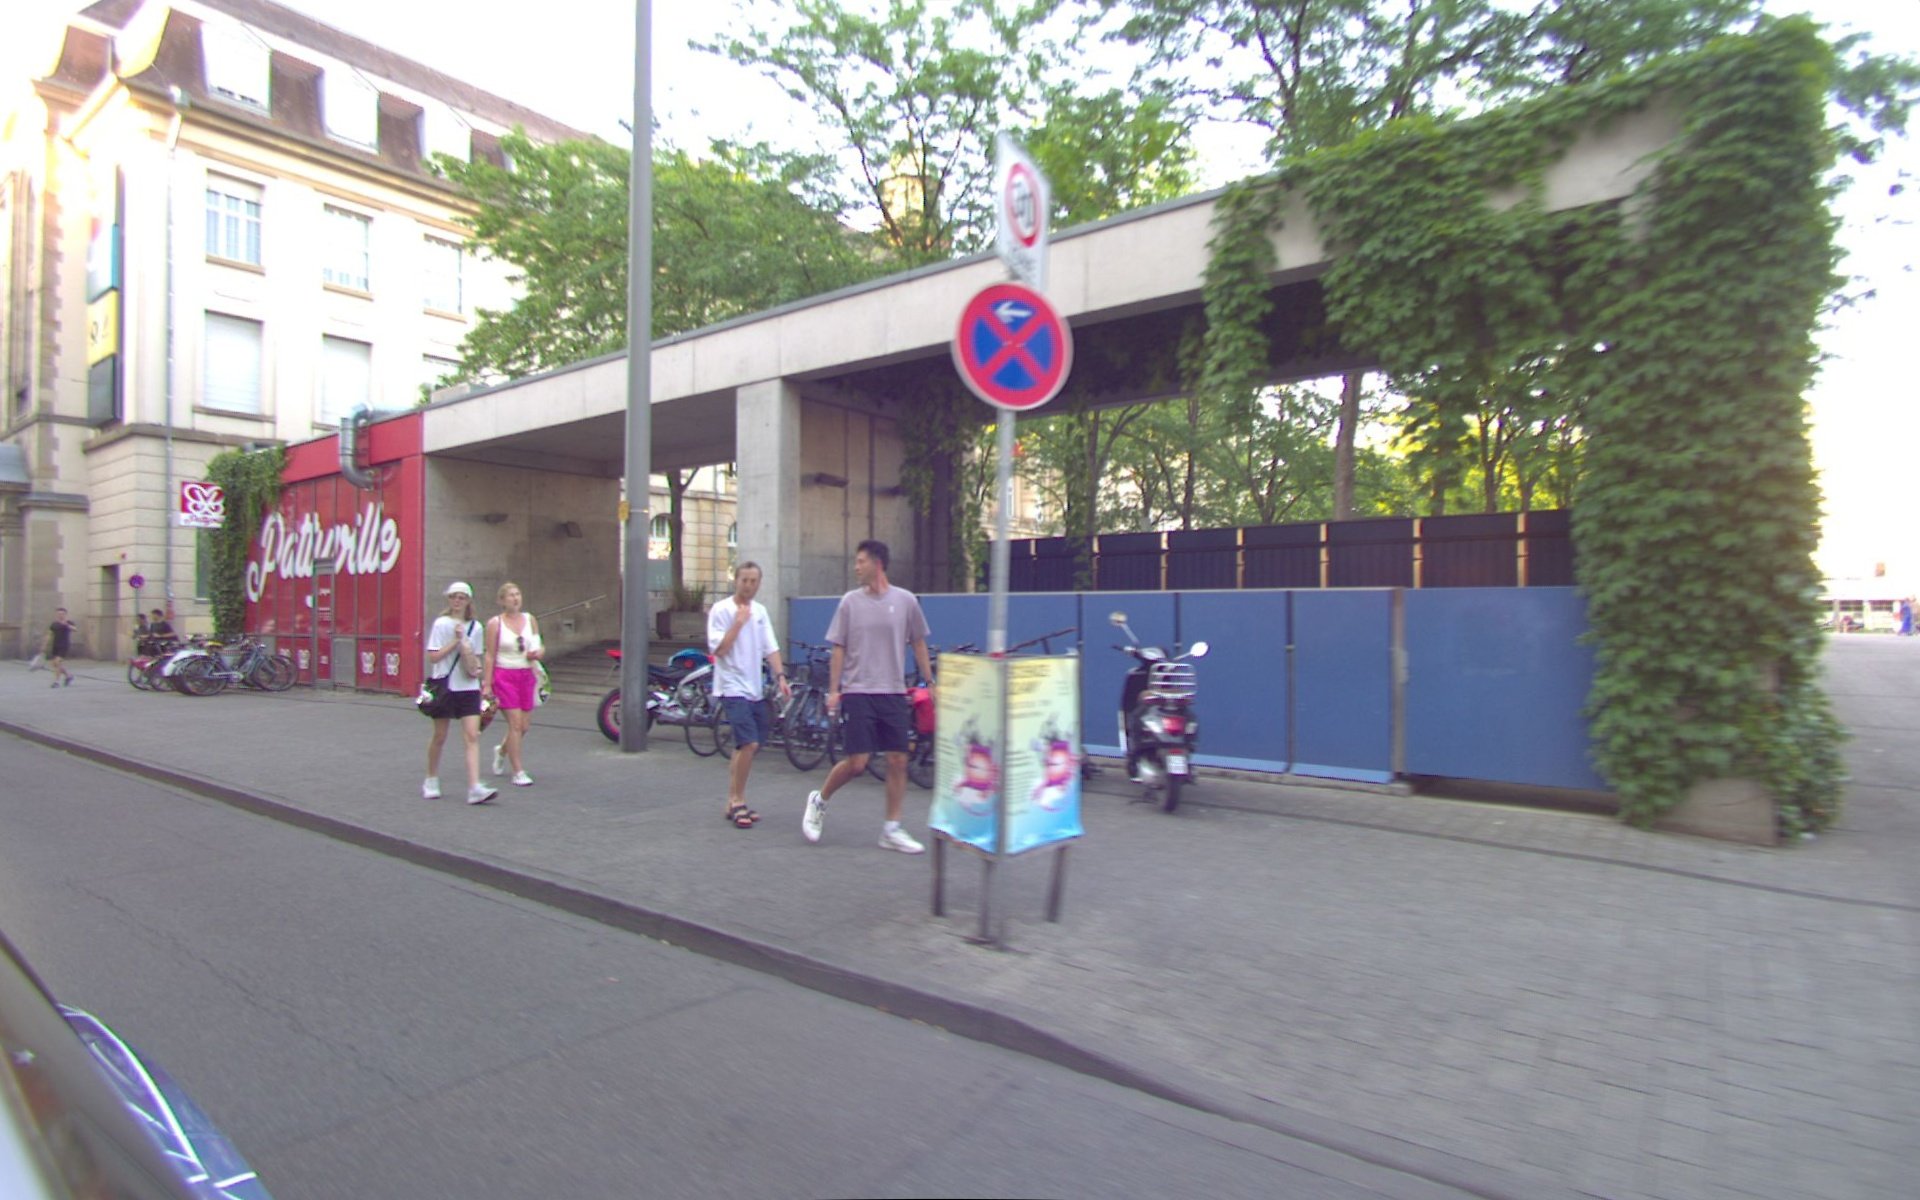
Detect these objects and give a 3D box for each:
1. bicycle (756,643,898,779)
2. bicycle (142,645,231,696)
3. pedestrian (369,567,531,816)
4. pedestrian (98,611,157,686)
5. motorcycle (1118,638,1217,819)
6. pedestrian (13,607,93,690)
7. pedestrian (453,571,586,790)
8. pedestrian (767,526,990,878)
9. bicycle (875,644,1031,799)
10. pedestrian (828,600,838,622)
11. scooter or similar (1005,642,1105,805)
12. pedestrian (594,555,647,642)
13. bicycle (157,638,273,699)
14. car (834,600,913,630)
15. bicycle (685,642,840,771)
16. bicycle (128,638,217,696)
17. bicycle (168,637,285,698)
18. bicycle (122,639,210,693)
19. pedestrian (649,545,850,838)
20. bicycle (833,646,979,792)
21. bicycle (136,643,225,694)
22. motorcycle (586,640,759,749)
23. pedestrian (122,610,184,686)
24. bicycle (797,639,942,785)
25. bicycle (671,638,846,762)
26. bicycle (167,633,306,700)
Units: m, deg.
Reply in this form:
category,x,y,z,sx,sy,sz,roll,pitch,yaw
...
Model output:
category,x,y,z,sx,sy,sz,roll,pitch,yaw
bicycle,-1.195,0.977,9.367,0.410,1.096,1.480,-2,0,34
bicycle,-16.273,1.470,21.312,0.311,0.963,1.486,-2,0,29
pedestrian,-4.002,0.666,7.947,0.868,1.807,0.841,-2,-1,40
pedestrian,-19.815,1.130,24.088,0.701,1.740,0.910,-1,-1,33
motorcycle,1.520,0.891,7.635,0.530,1.135,1.825,-1,0,6
pedestrian,-20.753,1.093,23.162,0.937,1.841,1.003,-1,0,14
pedestrian,-3.864,0.664,8.893,0.736,1.807,0.801,-2,-1,40
pedestrian,-0.484,0.552,6.116,0.889,1.898,0.972,-2,-1,40
bicycle,-0.024,0.951,8.411,0.546,1.096,1.480,-2,0,34
pedestrian,-11.904,1.029,94.893,0.905,2.029,0.916,0,-1,-6
scooter or similar,0.781,0.910,7.982,0.408,1.096,1.488,-1,0,20
pedestrian,-7.359,-0.034,21.972,0.931,1.841,0.834,-1,0,-8
bicycle,-14.779,1.344,20.111,0.354,1.091,1.819,-2,-1,43
car,-5.471,0.946,64.146,4.540,1.665,2.103,-1,-2,-34
bicycle,-1.894,0.992,9.836,0.436,1.096,1.476,-2,-1,44
bicycle,-16.819,1.409,21.637,0.311,1.149,1.486,-2,0,29
bicycle,-14.380,1.298,19.889,0.354,1.091,1.819,-2,-1,43
bicycle,-17.101,1.405,21.835,0.311,1.084,1.486,-2,0,29
pedestrian,-1.430,0.567,6.906,0.889,1.807,0.972,-2,-1,40
bicycle,-0.428,0.965,8.688,0.441,1.077,1.480,-2,0,34
bicycle,-16.532,1.429,21.486,0.311,0.986,1.486,-2,0,29
motorcycle,-3.222,1.032,11.378,1.797,1.077,0.535,-1,0,-24
pedestrian,-18.991,1.110,23.828,0.830,1.740,0.911,-1,-1,30
bicycle,-0.762,0.930,8.906,0.410,1.120,1.480,-2,0,34
bicycle,-2.041,0.982,10.491,0.550,1.095,1.849,-2,0,39
bicycle,-14.053,1.258,19.714,0.445,1.164,2.151,-2,0,43
